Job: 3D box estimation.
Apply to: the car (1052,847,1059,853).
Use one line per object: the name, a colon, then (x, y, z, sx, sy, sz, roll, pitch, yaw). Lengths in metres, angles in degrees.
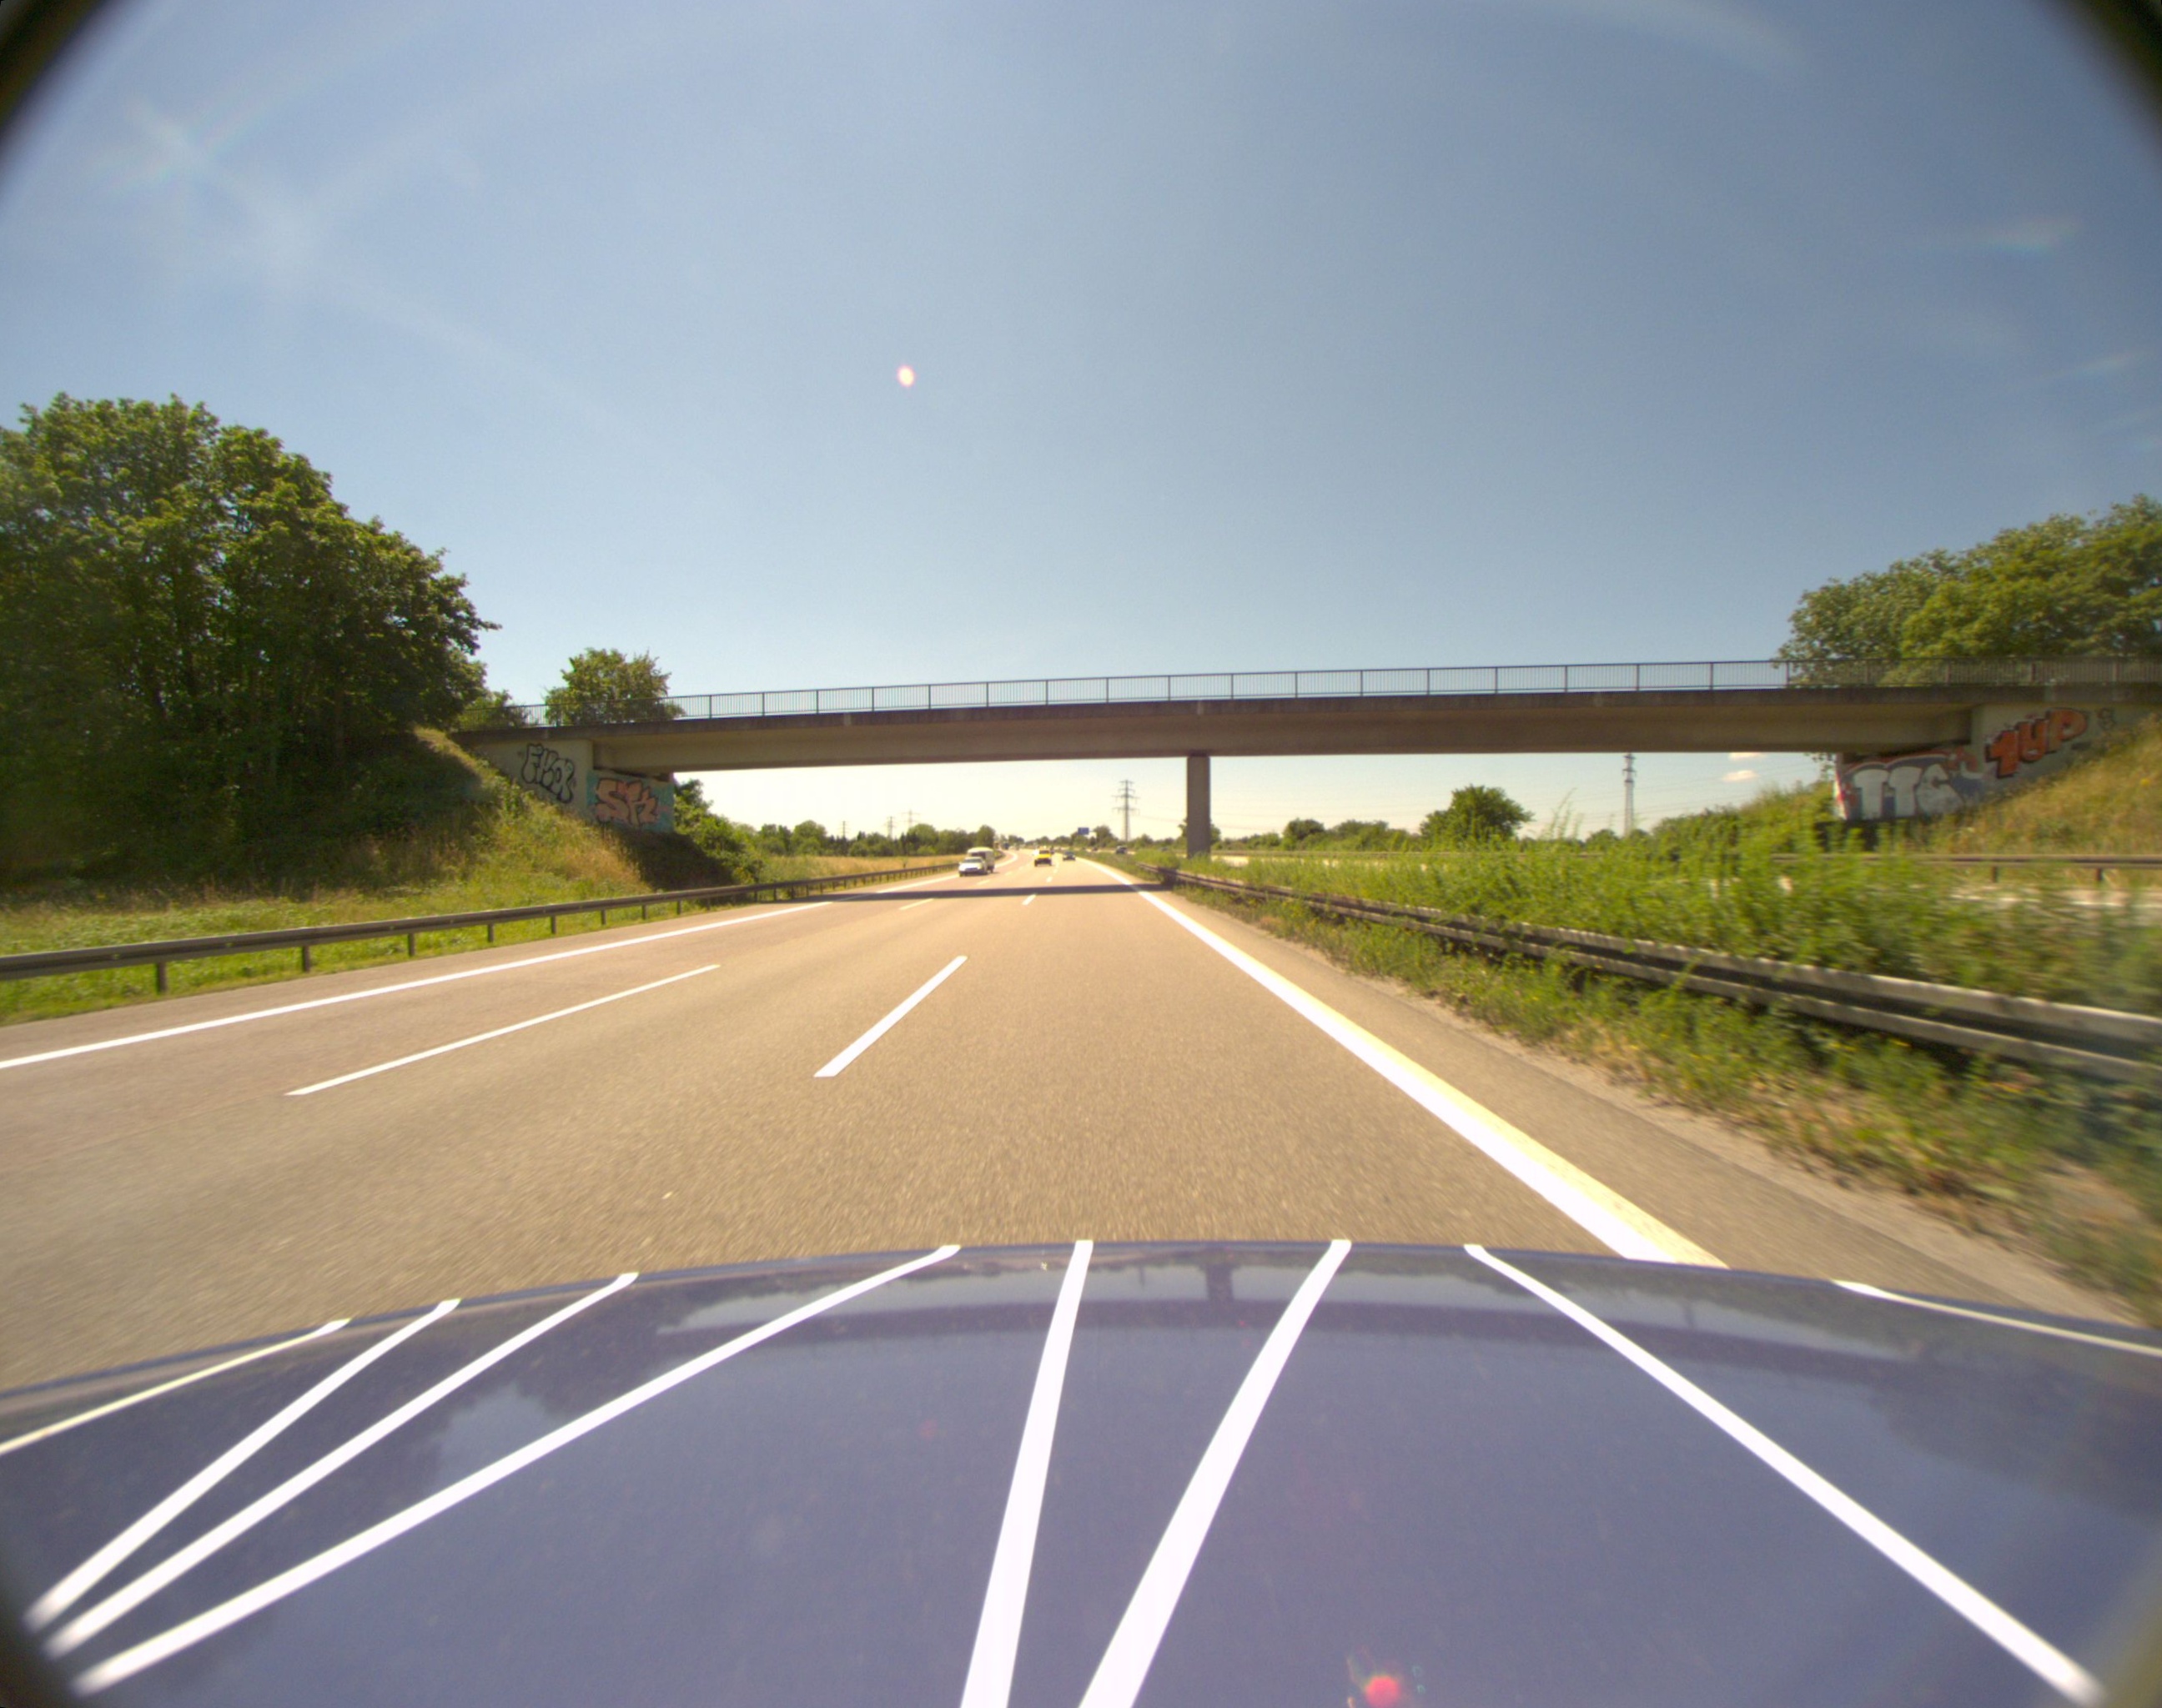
car: (-7.168, -1.194, 216.059, 1.999, 1.707, 3.999, -1, 1, -1)

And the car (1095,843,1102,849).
car: (5.746, -2.581, 250.455, 1.909, 2.002, 4.823, -2, 1, -3)

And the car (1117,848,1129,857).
car: (7.140, -0.280, 129.940, 1.715, 1.565, 3.999, -1, 1, -2)

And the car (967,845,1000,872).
car: (-8.308, 0.353, 65.084, 2.188, 2.253, 4.950, -1, 1, -1)

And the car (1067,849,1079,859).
car: (-1.240, -0.024, 114.719, 1.726, 1.478, 3.999, -2, 0, -2)

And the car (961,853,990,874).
car: (-8.091, 0.708, 58.555, 1.784, 1.467, 3.999, -1, 1, -1)

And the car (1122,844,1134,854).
car: (9.952, -1.074, 161.988, 1.909, 2.002, 4.823, -2, 1, -3)

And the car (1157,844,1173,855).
car: (13.588, -0.693, 122.762, 1.681, 1.592, 5.634, -3, 1, -2)

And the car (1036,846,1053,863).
car: (-4.068, 0.040, 84.521, 1.777, 1.882, 3.831, -1, 1, -1)
